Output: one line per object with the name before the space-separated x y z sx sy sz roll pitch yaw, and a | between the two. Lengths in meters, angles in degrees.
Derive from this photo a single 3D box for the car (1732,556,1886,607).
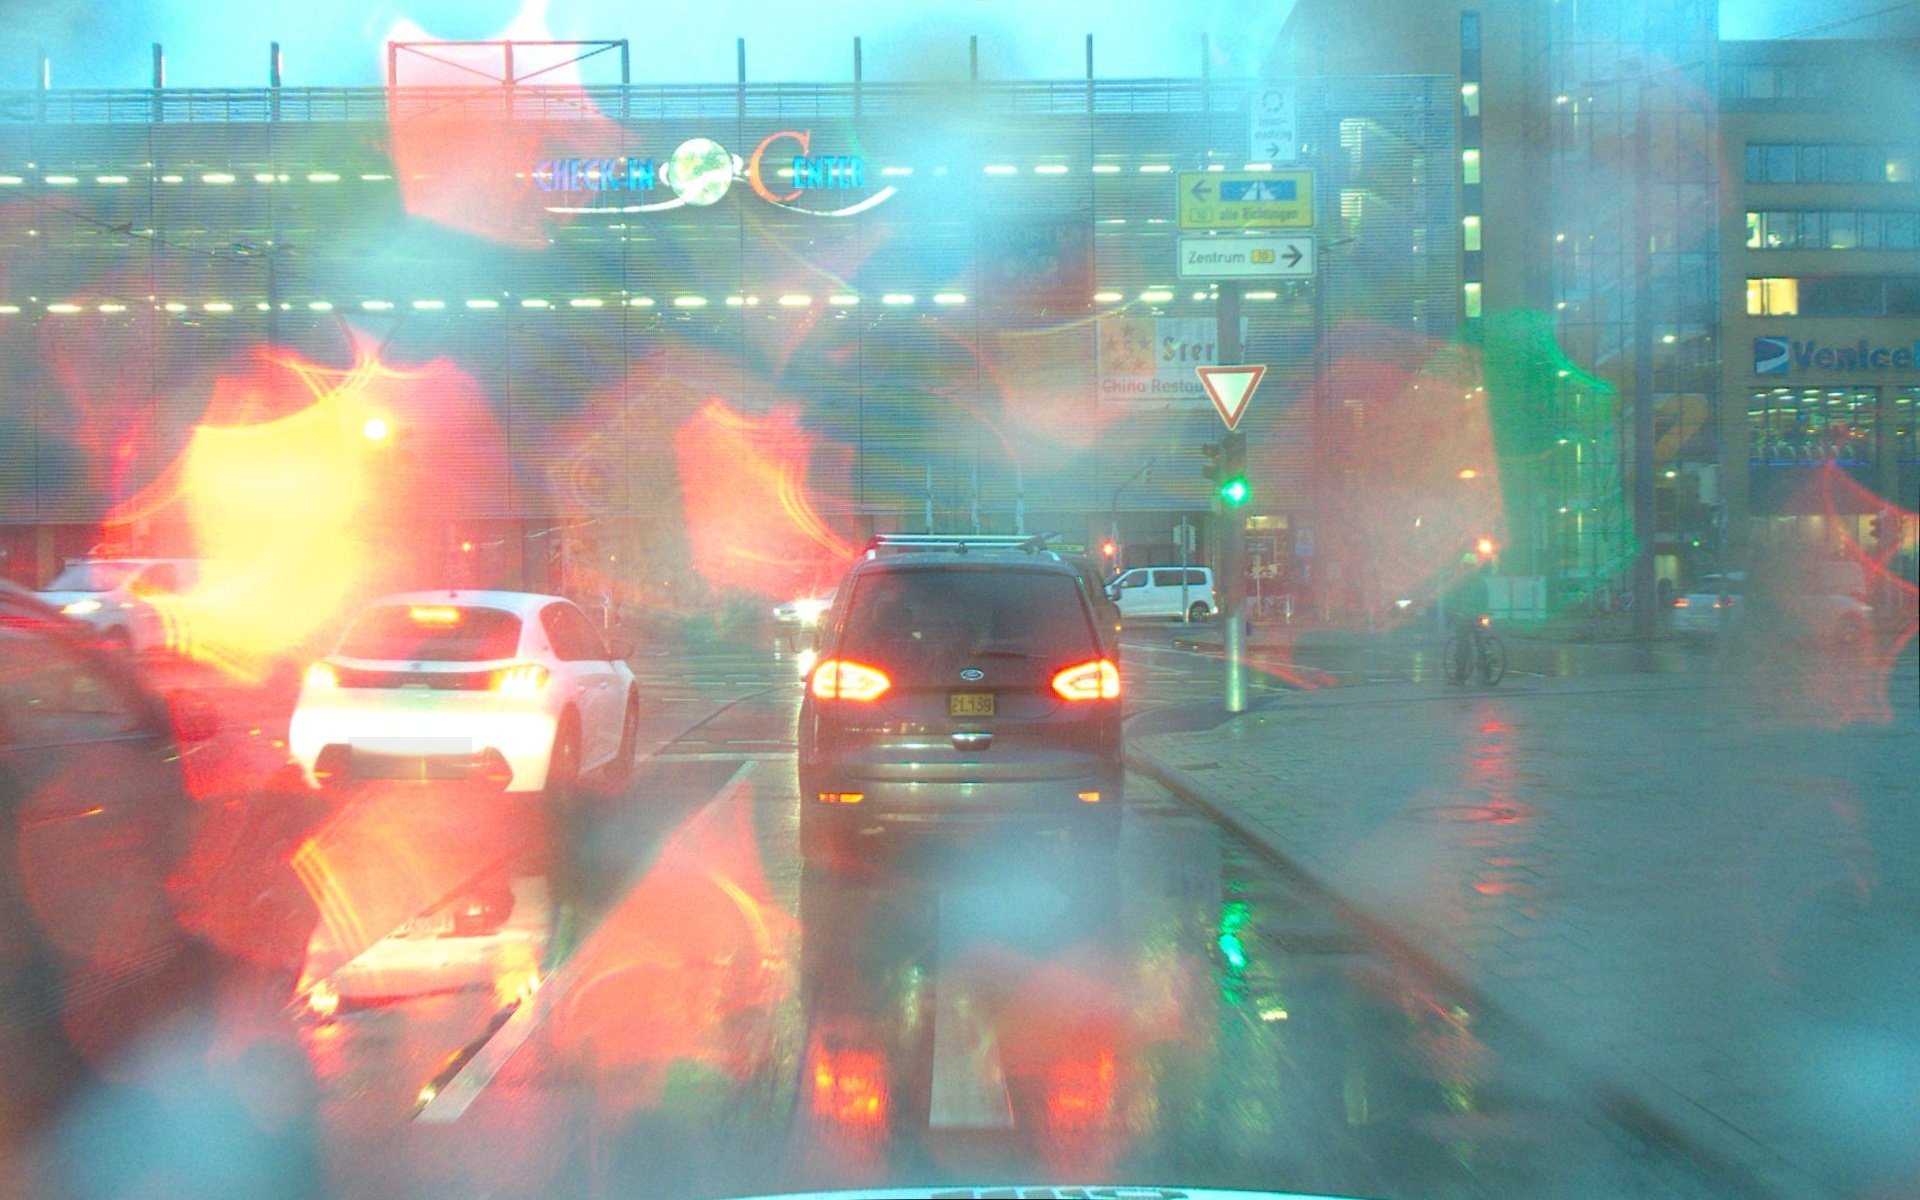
car | 30.425 -0.663 59.361 4.500 1.749 1.930 -1 0 1

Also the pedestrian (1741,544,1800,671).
pedestrian | 12.347 0.110 25.215 0.757 1.910 0.635 -1 0 25

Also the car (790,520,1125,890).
car | 0.040 0.510 10.254 1.639 1.810 4.001 1 0 1

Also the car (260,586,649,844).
car | -3.310 0.655 11.600 1.723 1.489 3.915 0 0 -3

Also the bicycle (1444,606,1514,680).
bicycle | 7.450 0.598 23.807 0.641 0.990 1.868 -1 0 8

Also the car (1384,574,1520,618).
car | 17.306 -0.154 58.270 4.327 1.470 1.626 -1 0 -9

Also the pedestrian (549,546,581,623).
pedestrian | -15.549 -0.604 65.094 0.943 2.976 1.114 1 -1 1

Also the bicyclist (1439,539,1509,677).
bicyclist | 7.369 0.110 23.750 0.774 1.923 0.990 -1 0 8

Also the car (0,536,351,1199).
car | -3.117 0.662 4.068 1.784 1.597 4.359 -1 0 -3

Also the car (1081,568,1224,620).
car | 6.574 -0.211 56.668 4.554 1.706 1.782 -1 0 -11

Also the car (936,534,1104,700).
car | 0.862 0.170 20.743 1.804 1.837 4.490 -1 1 6

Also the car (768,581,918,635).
car | -3.476 0.217 49.608 4.305 1.512 1.837 -1 0 -43

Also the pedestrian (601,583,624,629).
pedestrian | -14.040 0.249 66.849 0.772 1.818 0.732 -1 0 -3

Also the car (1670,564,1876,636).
car | 16.624 -0.019 33.858 3.660 1.385 1.638 -1 0 -16

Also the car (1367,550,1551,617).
car | 16.486 -0.531 54.845 5.524 2.095 1.954 -1 0 3

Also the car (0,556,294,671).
car | -14.617 0.199 29.994 1.859 1.904 4.964 -1 0 20

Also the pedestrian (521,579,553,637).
pedestrian | -18.116 0.341 70.825 1.087 2.482 0.966 1 -1 1
